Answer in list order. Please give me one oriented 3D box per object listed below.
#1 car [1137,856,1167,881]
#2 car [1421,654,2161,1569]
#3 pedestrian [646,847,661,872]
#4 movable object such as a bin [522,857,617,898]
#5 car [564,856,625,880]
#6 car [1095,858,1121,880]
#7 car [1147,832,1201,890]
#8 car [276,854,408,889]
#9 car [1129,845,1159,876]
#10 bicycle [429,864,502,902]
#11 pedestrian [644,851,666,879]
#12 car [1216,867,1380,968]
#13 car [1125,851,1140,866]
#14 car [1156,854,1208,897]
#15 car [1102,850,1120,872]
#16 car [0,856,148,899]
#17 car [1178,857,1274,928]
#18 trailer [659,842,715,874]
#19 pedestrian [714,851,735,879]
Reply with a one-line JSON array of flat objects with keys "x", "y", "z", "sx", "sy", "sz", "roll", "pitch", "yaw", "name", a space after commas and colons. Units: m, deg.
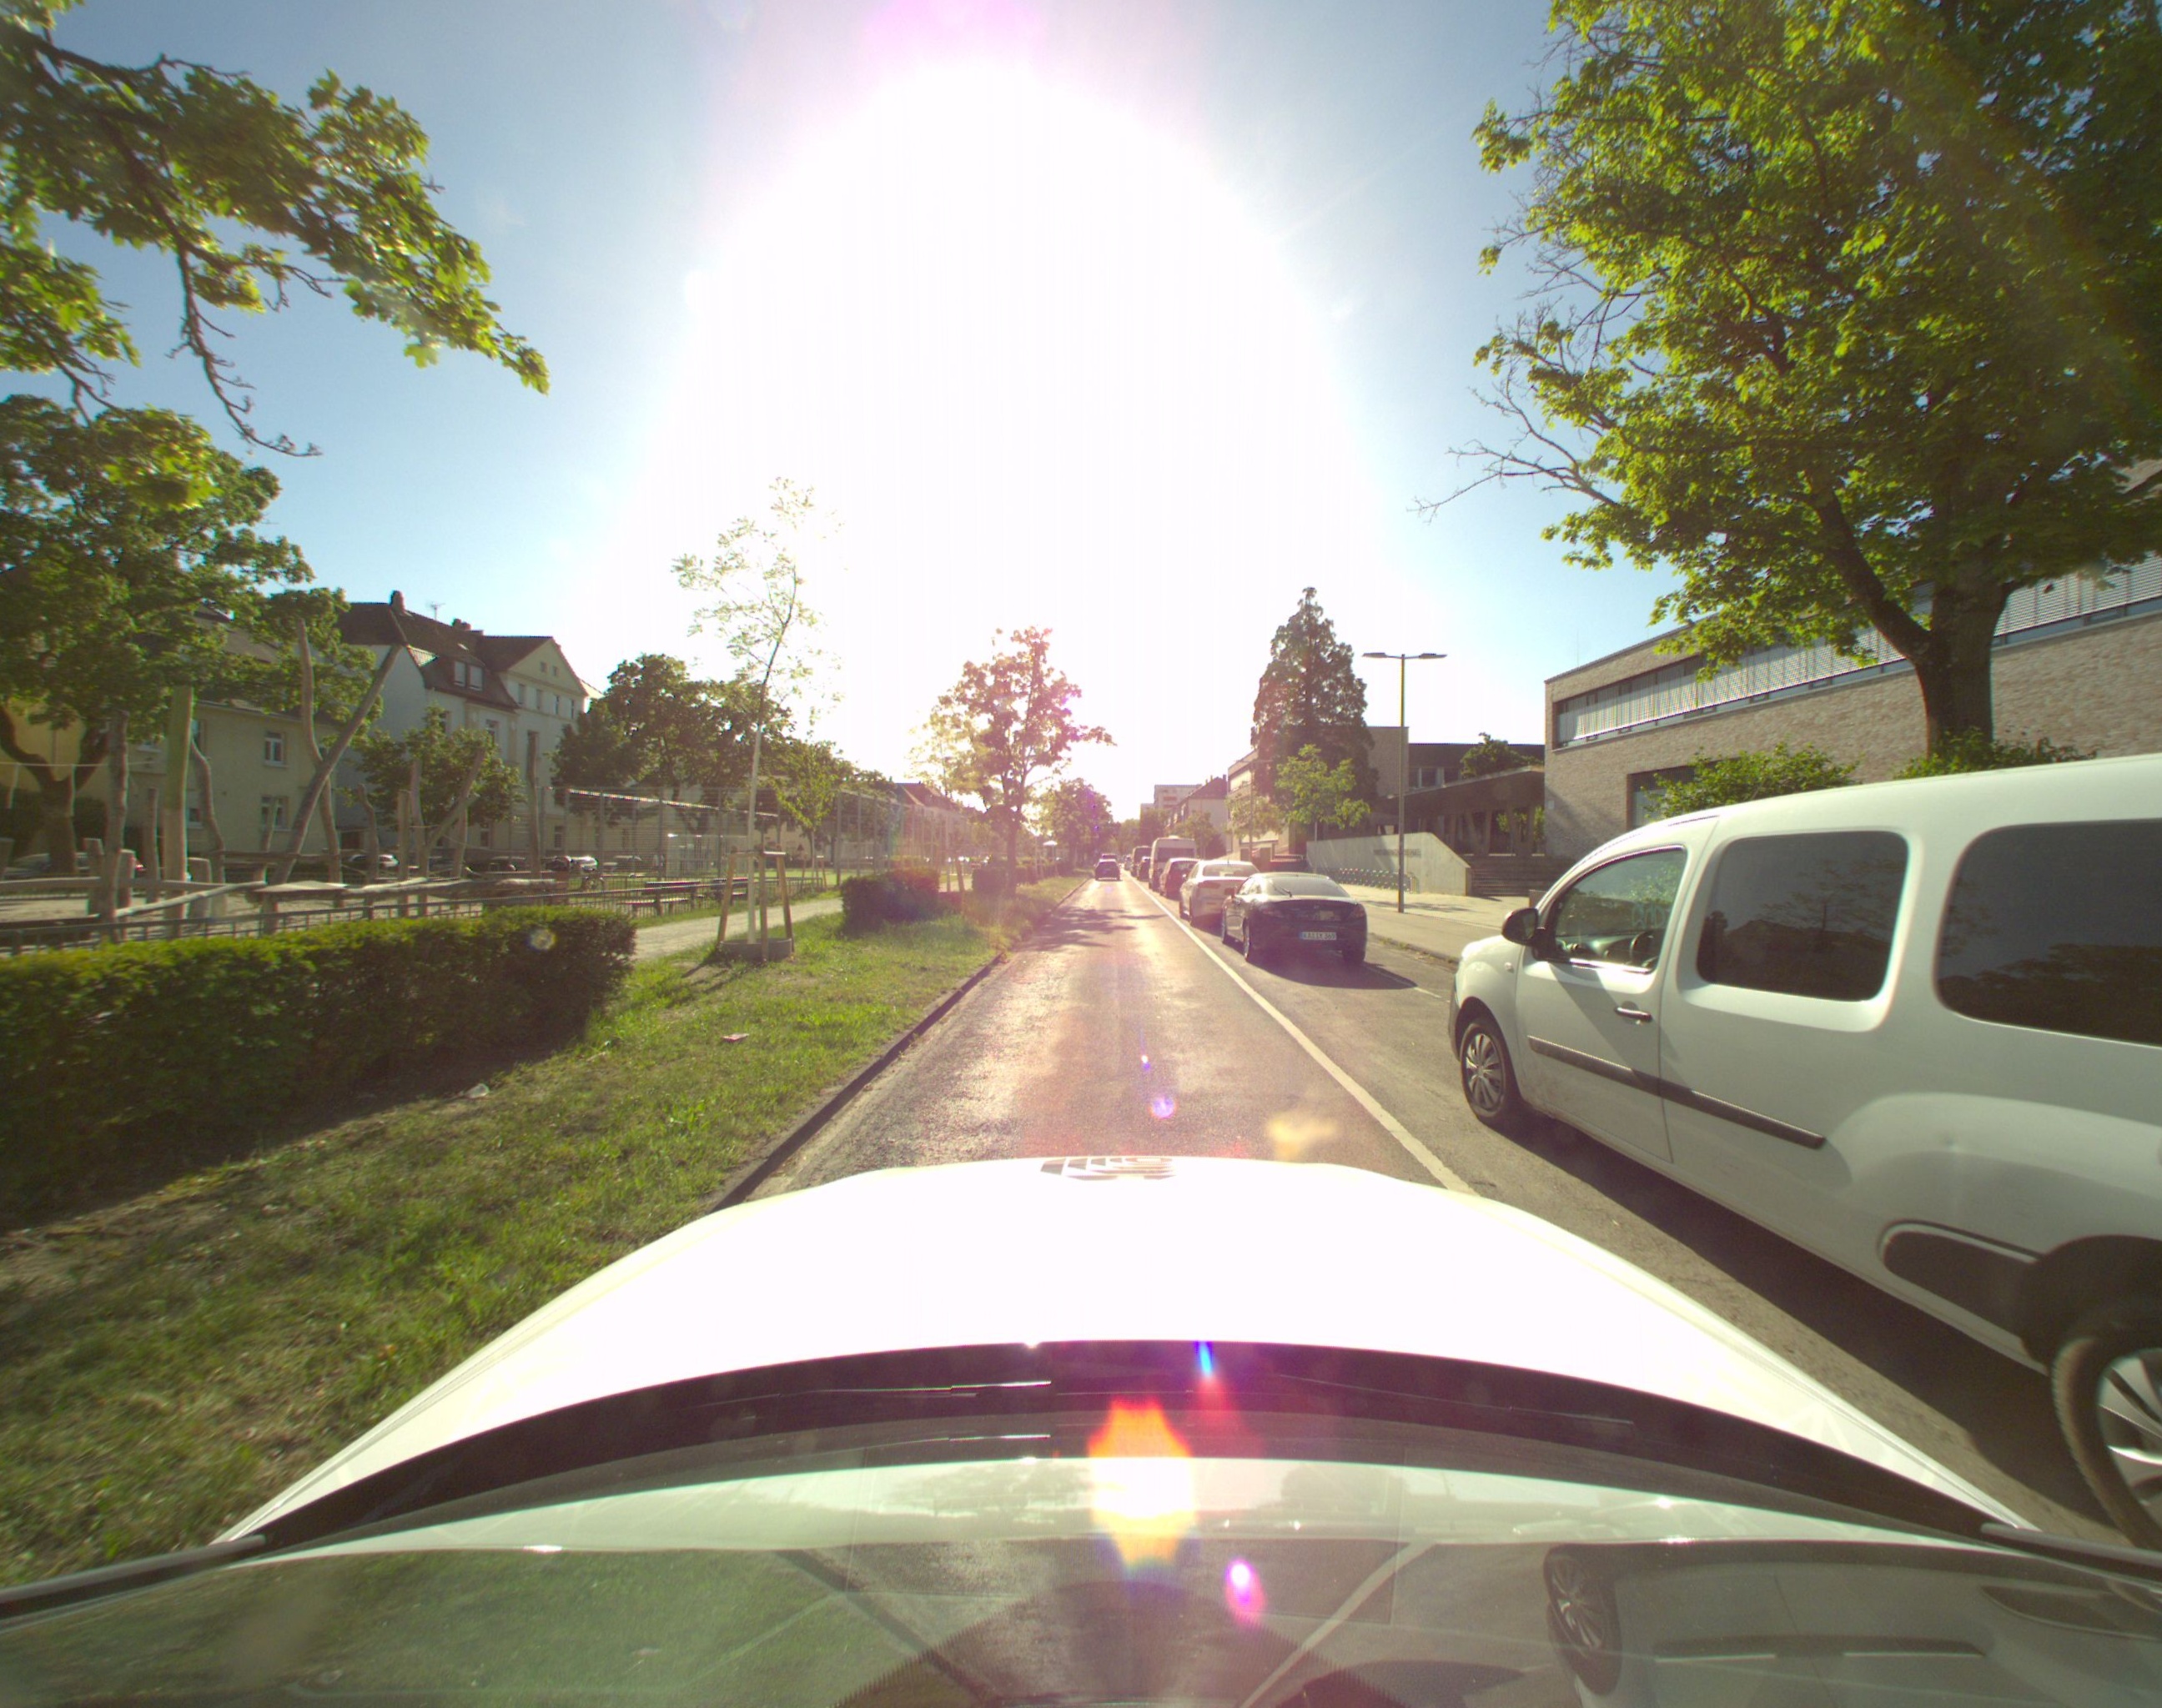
[{"x": 4.989, "y": 0.992, "z": 57.472, "sx": 1.839, "sy": 1.640, "sz": 4.505, "roll": 0, "pitch": 0, "yaw": 1, "name": "car"}, {"x": 3.182, "y": 0.550, "z": 3.265, "sx": 1.802, "sy": 1.908, "sz": 4.461, "roll": 1, "pitch": 0, "yaw": 1, "name": "car"}, {"x": -28.651, "y": 0.386, "z": 54.635, "sx": 0.645, "sy": 1.661, "sz": 0.650, "roll": -1, "pitch": -1, "yaw": 2, "name": "pedestrian"}, {"x": -16.261, "y": 0.733, "z": 25.925, "sx": 2.324, "sy": 1.242, "sz": 1.055, "roll": -1, "pitch": 0, "yaw": -3, "name": "movable object such as a bin"}, {"x": -37.095, "y": 1.048, "z": 62.255, "sx": 1.787, "sy": 1.777, "sz": 4.491, "roll": 1, "pitch": 0, "yaw": 2, "name": "car"}, {"x": 1.939, "y": 1.053, "z": 58.292, "sx": 1.787, "sy": 1.510, "sz": 4.002, "roll": 0, "pitch": 0, "yaw": 2, "name": "car"}, {"x": 4.448, "y": 0.331, "z": 39.816, "sx": 2.232, "sy": 2.574, "sz": 5.435, "roll": 1, "pitch": 0, "yaw": 2, "name": "car"}, {"x": -37.679, "y": 0.843, "z": 41.762, "sx": 1.874, "sy": 1.651, "sz": 5.185, "roll": 1, "pitch": 0, "yaw": 2, "name": "car"}, {"x": 5.321, "y": 0.521, "z": 69.623, "sx": 2.108, "sy": 2.516, "sz": 6.532, "roll": 0, "pitch": 0, "yaw": 1, "name": "car"}, {"x": -18.511, "y": 0.861, "z": 24.504, "sx": 1.788, "sy": 1.107, "sz": 0.500, "roll": 0, "pitch": 0, "yaw": 0, "name": "bicycle"}, {"x": -19.991, "y": 0.509, "z": 38.240, "sx": 0.642, "sy": 1.318, "sz": 0.654, "roll": 0, "pitch": 0, "yaw": 31, "name": "pedestrian"}, {"x": 3.349, "y": 0.909, "z": 13.354, "sx": 1.695, "sy": 1.325, "sz": 4.131, "roll": 1, "pitch": 0, "yaw": 2, "name": "car"}, {"x": 6.547, "y": 0.601, "z": 103.202, "sx": 1.786, "sy": 1.855, "sz": 4.418, "roll": 0, "pitch": 0, "yaw": 4, "name": "car"}, {"x": 3.910, "y": 0.792, "z": 32.024, "sx": 1.614, "sy": 1.588, "sz": 3.591, "roll": 0, "pitch": 0, "yaw": 0, "name": "car"}, {"x": 3.069, "y": 0.703, "z": 83.723, "sx": 1.787, "sy": 2.122, "sz": 4.002, "roll": 0, "pitch": 0, "yaw": 2, "name": "car"}, {"x": -38.191, "y": 0.822, "z": 30.482, "sx": 1.787, "sy": 1.510, "sz": 4.002, "roll": 1, "pitch": 0, "yaw": 2, "name": "car"}, {"x": 3.341, "y": 0.829, "z": 19.436, "sx": 1.695, "sy": 1.478, "sz": 4.176, "roll": 1, "pitch": 0, "yaw": 2, "name": "car"}, {"x": -37.115, "y": 0.401, "z": 76.867, "sx": 2.334, "sy": 2.870, "sz": 5.804, "roll": 1, "pitch": 0, "yaw": 1, "name": "trailer"}, {"x": -17.231, "y": 0.512, "z": 39.352, "sx": 0.642, "sy": 1.318, "sz": 0.654, "roll": 0, "pitch": 0, "yaw": 31, "name": "pedestrian"}]
